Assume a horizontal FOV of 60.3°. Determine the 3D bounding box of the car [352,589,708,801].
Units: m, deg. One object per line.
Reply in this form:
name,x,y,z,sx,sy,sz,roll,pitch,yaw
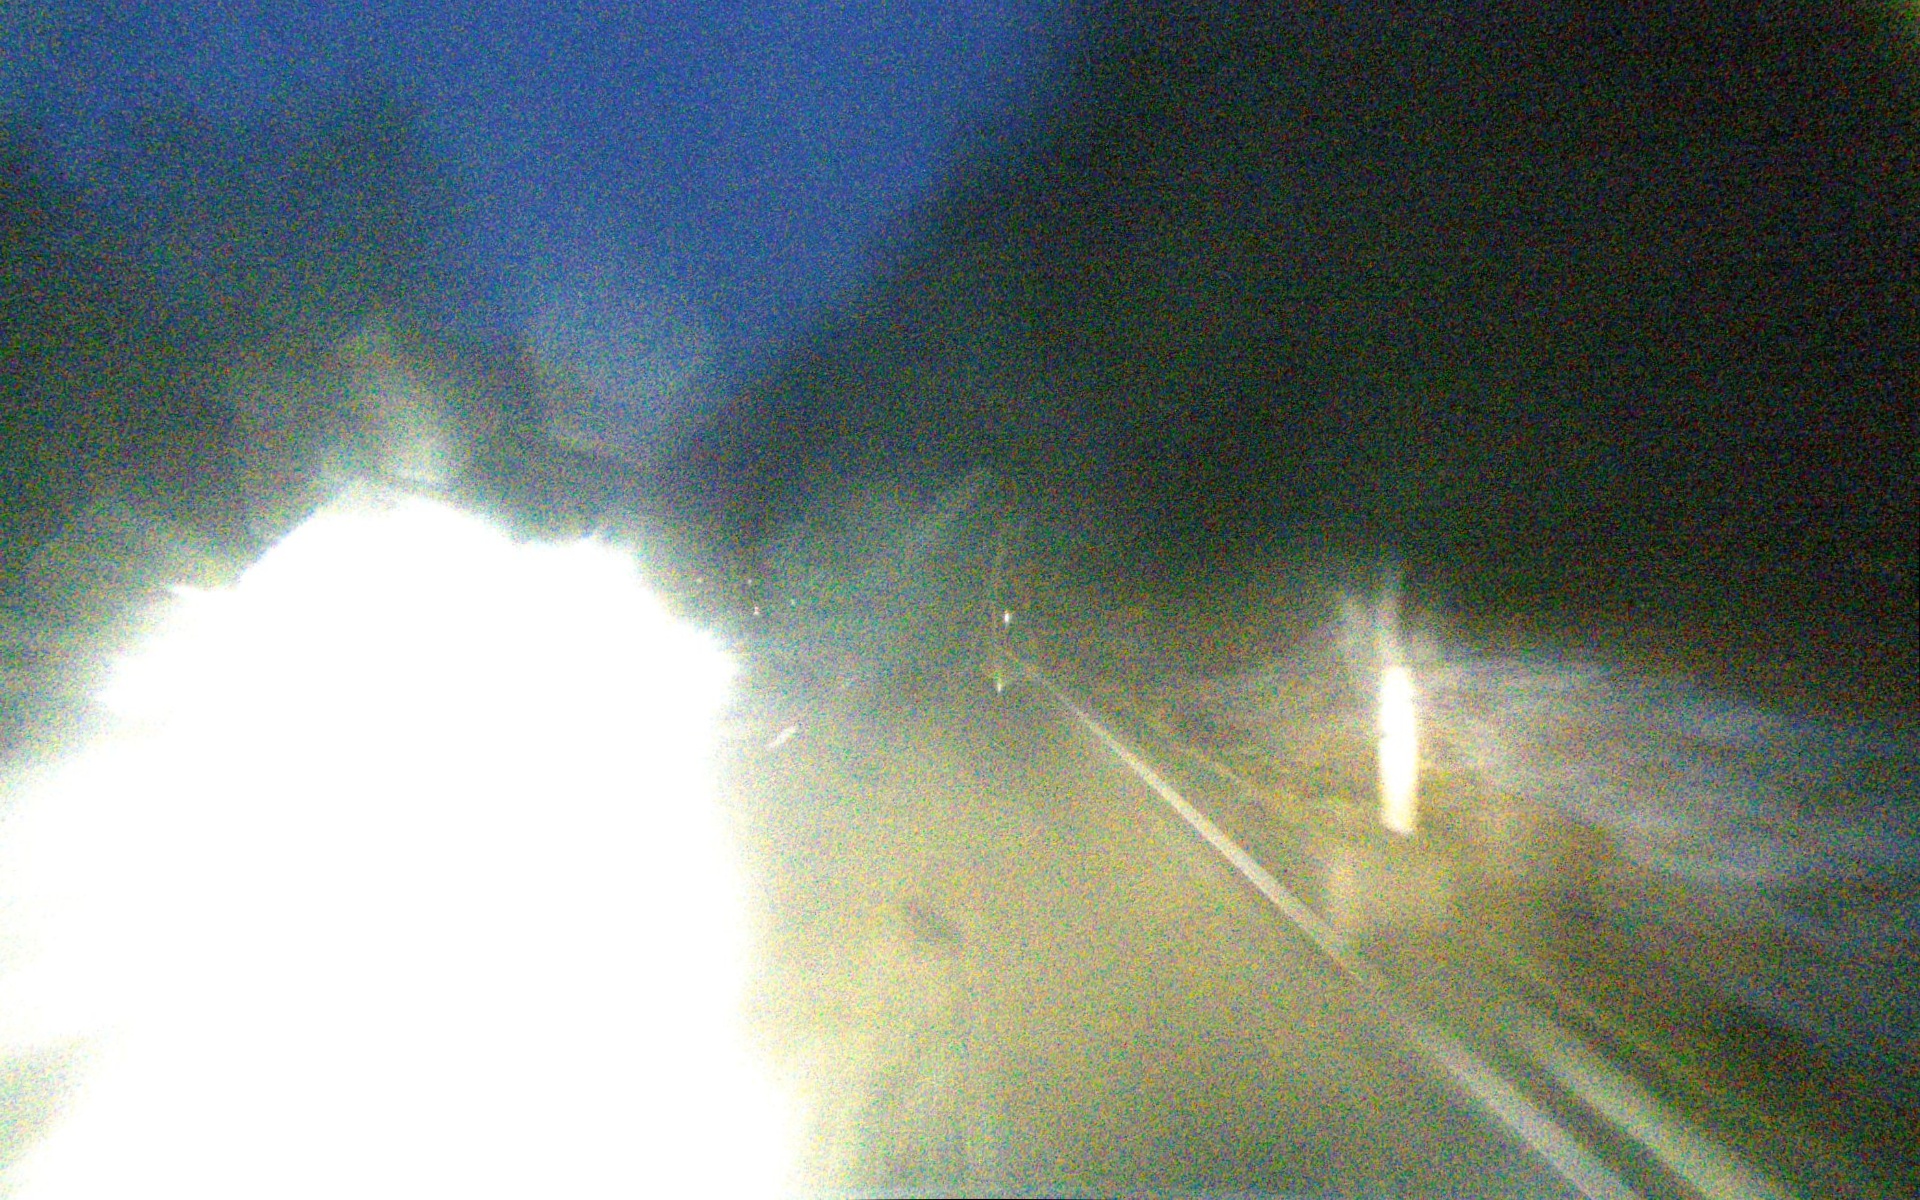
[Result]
car,-3.362,0.677,13.827,1.878,1.489,4.258,0,0,-1
